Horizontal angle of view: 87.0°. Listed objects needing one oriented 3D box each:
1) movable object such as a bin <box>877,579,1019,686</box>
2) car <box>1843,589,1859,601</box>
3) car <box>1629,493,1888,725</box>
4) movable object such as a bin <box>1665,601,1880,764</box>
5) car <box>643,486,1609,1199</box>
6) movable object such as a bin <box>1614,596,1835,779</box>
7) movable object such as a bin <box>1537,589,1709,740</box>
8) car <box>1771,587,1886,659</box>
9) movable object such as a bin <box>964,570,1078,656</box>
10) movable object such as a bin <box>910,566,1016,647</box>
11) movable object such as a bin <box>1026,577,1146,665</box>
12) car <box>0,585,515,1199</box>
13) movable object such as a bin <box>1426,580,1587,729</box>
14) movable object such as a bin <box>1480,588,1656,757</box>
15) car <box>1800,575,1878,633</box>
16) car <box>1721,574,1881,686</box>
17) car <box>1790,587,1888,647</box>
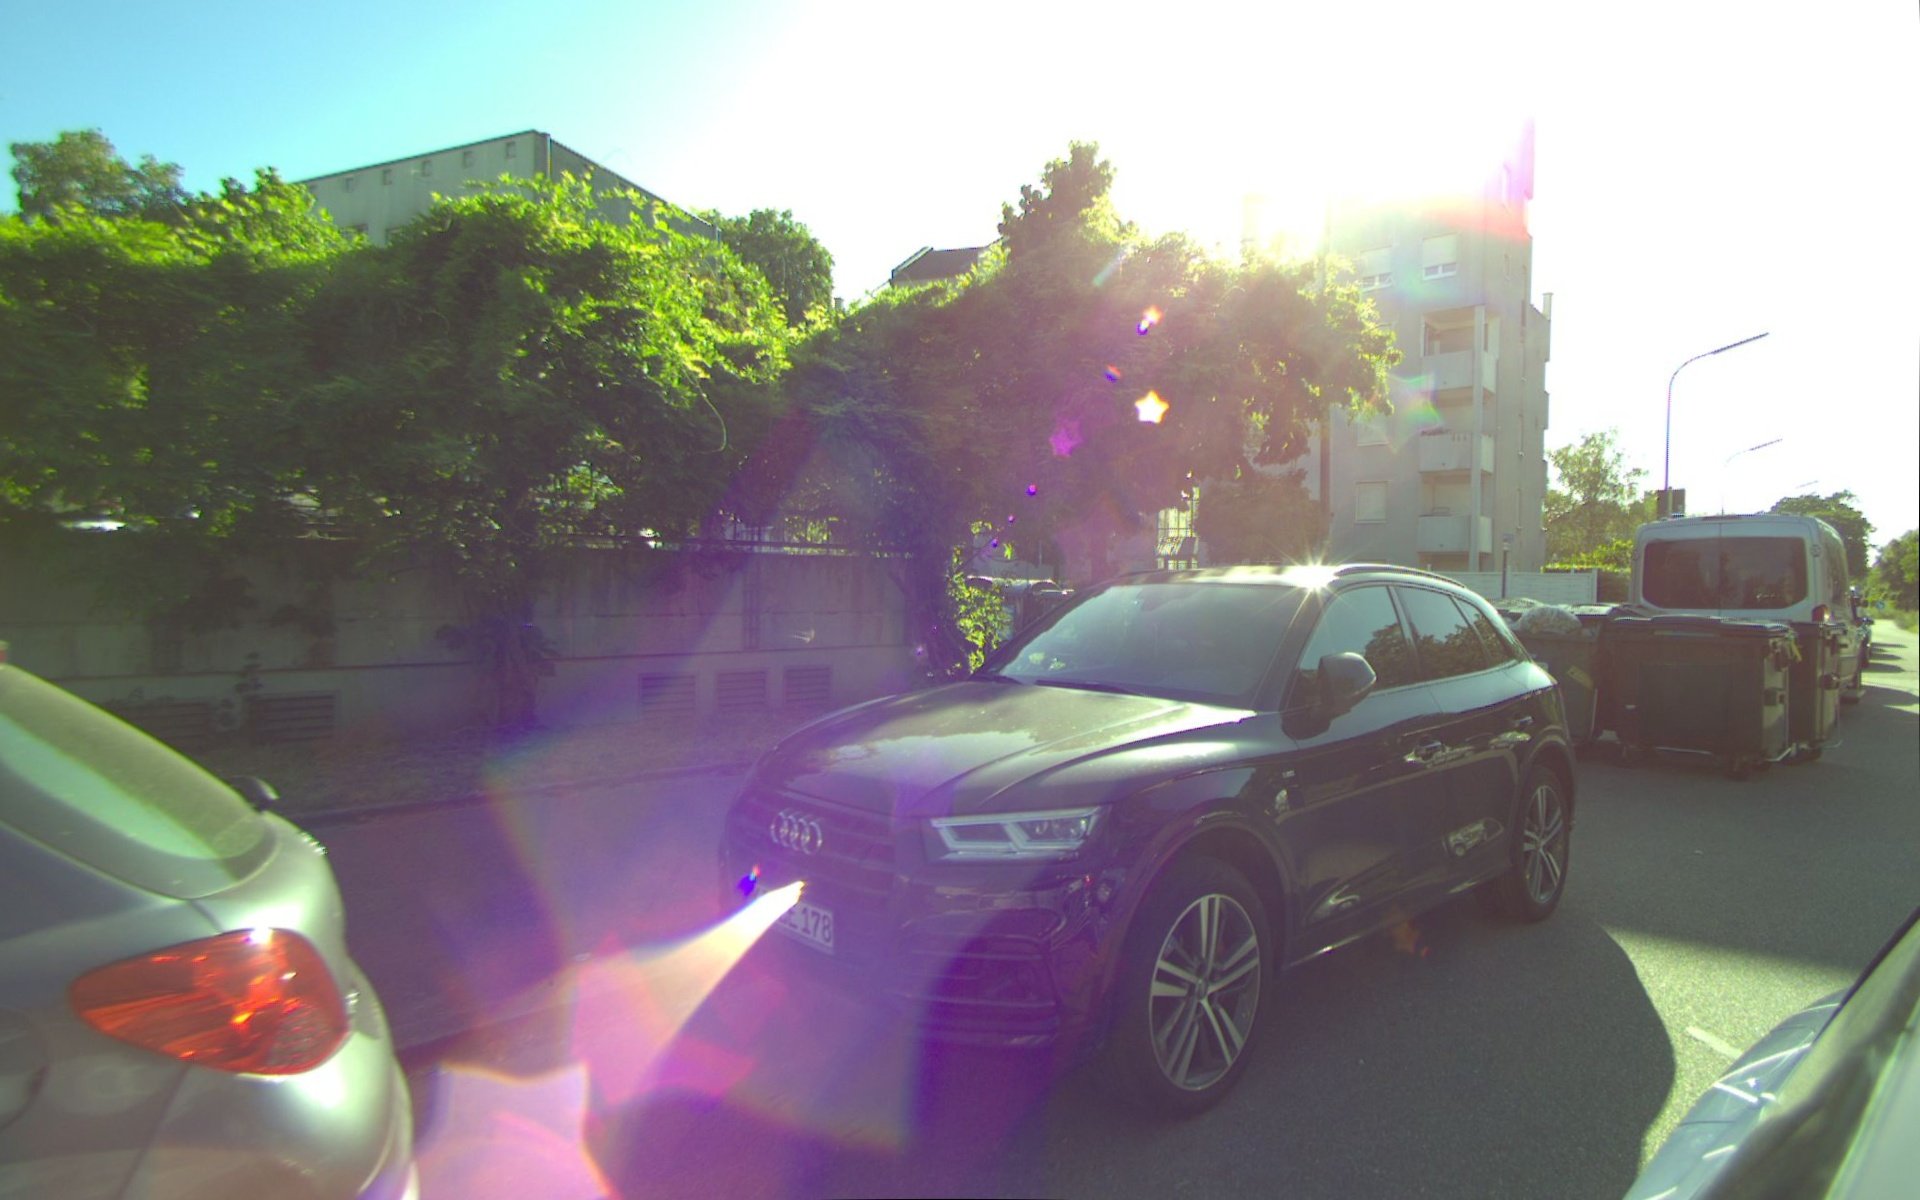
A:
[{"bbox_3d":[-0.179,0.399,13.933,1.357,1.321,1.416,0,3,-39],"label":"movable object such as a bin"},{"bbox_3d":[150.656,-0.827,171.104,1.992,1.838,3.940,2,2,41],"label":"car"},{"bbox_3d":[11.041,0.062,13.786,5.760,2.517,2.106,-1,1,-45],"label":"car"},{"bbox_3d":[7.620,0.728,9.524,1.101,1.330,1.274,2,1,-35],"label":"movable object such as a bin"},{"bbox_3d":[1.097,0.589,4.397,4.385,1.685,1.812,0,0,-42],"label":"car"},{"bbox_3d":[6.677,0.692,8.870,1.148,1.414,1.232,0,2,-35],"label":"movable object such as a bin"},{"bbox_3d":[6.865,0.622,10.492,1.334,1.437,1.111,1,-1,-37],"label":"movable object such as a bin"},{"bbox_3d":[20.842,0.466,24.240,1.909,1.507,4.308,2,2,42],"label":"car"},{"bbox_3d":[1.062,0.195,17.833,1.357,1.390,1.431,0,3,-39],"label":"movable object such as a bin"},{"bbox_3d":[0.054,0.090,18.901,1.357,1.390,1.431,0,3,-39],"label":"movable object such as a bin"},{"bbox_3d":[2.080,0.314,16.803,1.357,1.321,1.416,0,3,-39],"label":"movable object such as a bin"},{"bbox_3d":[-2.688,0.753,1.056,3.758,1.506,1.687,-1,0,-41],"label":"car"},{"bbox_3d":[6.095,0.552,11.292,1.393,1.465,1.045,-2,4,-37],"label":"movable object such as a bin"},{"bbox_3d":[5.827,0.629,9.714,1.149,1.466,1.095,-2,1,-37],"label":"movable object such as a bin"},{"bbox_3d":[31.900,0.091,36.798,1.992,1.936,4.881,2,2,41],"label":"car"},{"bbox_3d":[14.752,0.418,17.667,1.909,1.687,4.308,2,2,42],"label":"car"},{"bbox_3d":[24.680,0.403,28.381,1.909,1.507,4.308,2,2,42],"label":"car"}]
